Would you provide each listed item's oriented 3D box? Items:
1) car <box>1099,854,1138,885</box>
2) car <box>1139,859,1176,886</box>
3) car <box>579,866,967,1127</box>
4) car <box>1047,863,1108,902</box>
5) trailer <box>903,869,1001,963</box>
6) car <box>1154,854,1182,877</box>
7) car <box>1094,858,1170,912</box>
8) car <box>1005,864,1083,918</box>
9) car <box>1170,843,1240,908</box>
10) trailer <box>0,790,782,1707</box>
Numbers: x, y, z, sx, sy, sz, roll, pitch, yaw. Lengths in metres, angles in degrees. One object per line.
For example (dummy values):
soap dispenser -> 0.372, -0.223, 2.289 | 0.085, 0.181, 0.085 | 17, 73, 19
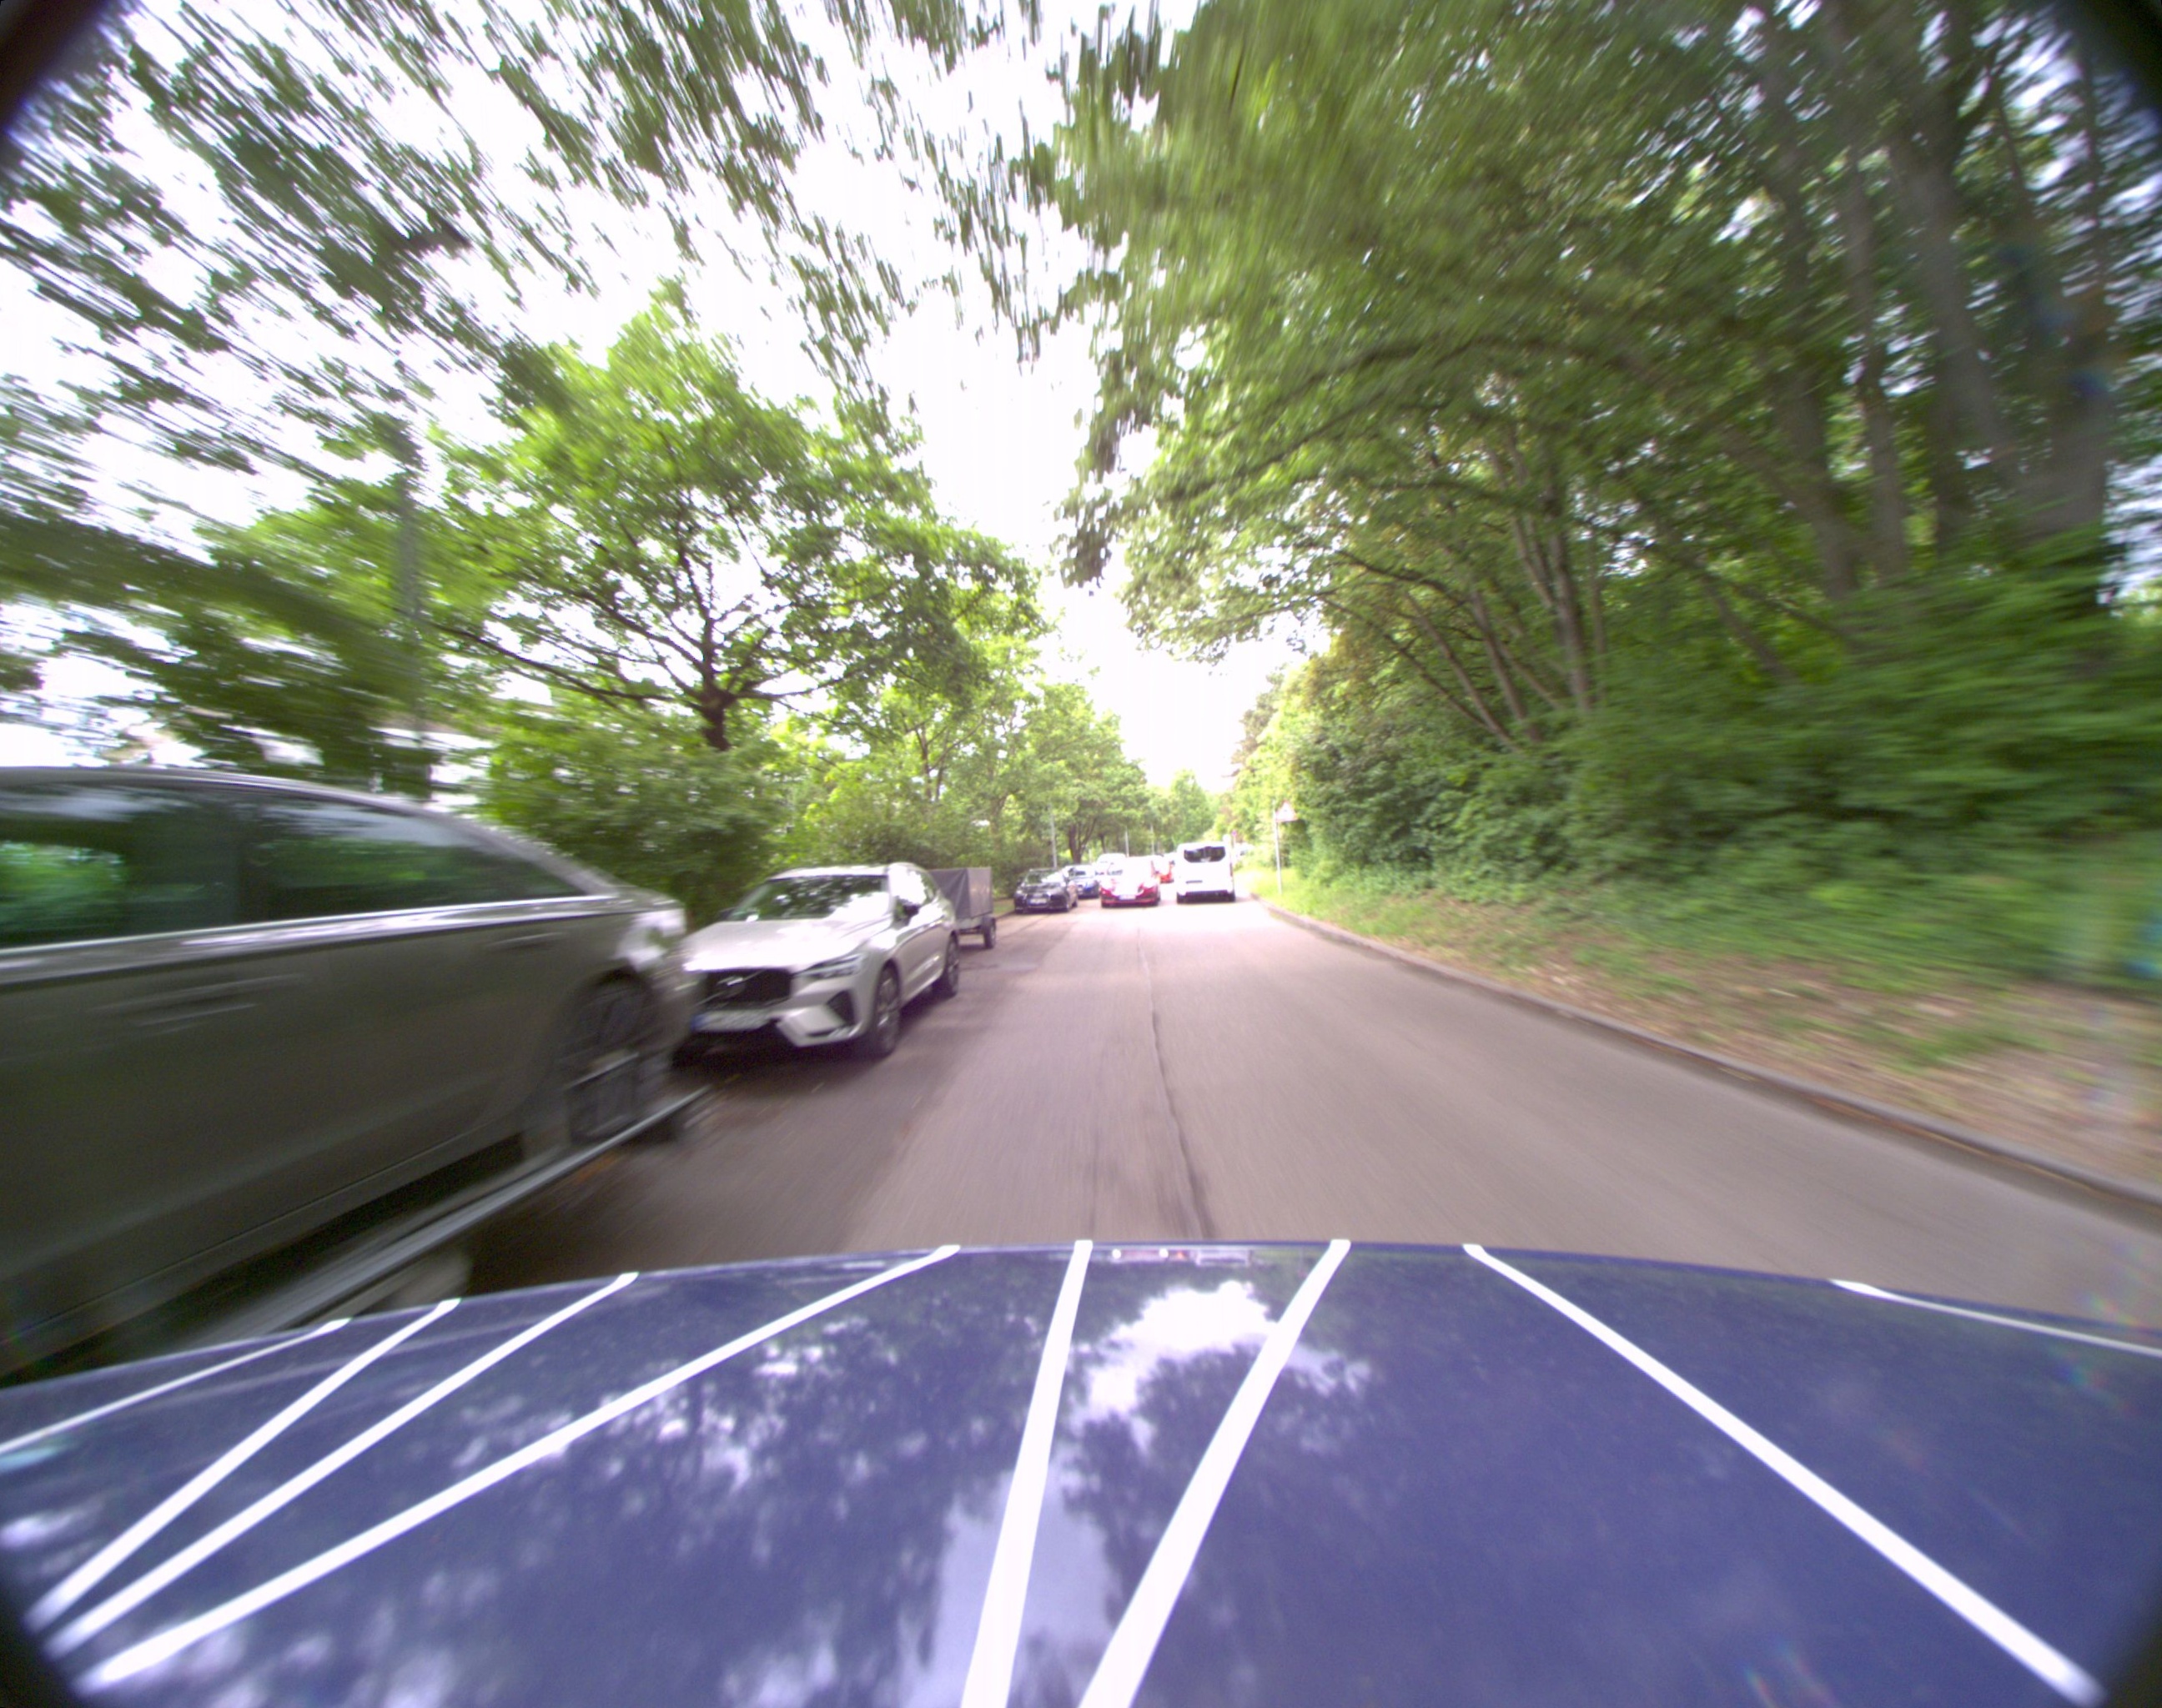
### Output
car -> 2.273, 0.906, 45.001 | 1.866, 1.716, 4.179 | -3, -1, 8
car -> 4.498, 1.042, 44.163 | 1.866, 1.440, 4.179 | -3, -1, 8
car -> -2.467, 1.020, 7.534 | 1.845, 1.675, 4.600 | -3, 0, 1
car -> -0.055, 1.125, 31.562 | 1.866, 1.440, 4.179 | -3, -1, 8
trailer -> -2.392, 1.114, 14.475 | 1.377, 1.594, 2.268 | -3, -1, 1
car -> 6.729, 0.889, 58.407 | 1.921, 1.671, 4.003 | 0, 0, 9
car -> 1.870, 1.016, 26.364 | 1.997, 1.618, 4.630 | -3, -1, 11
car -> -1.114, 1.146, 25.046 | 1.866, 1.558, 4.178 | -3, -1, 6
car -> 4.351, 0.680, 26.564 | 2.148, 2.002, 4.002 | -2, 1, 10
trailer -> -2.891, 0.881, 1.654 | 1.998, 1.922, 5.893 | -2, 1, 1
